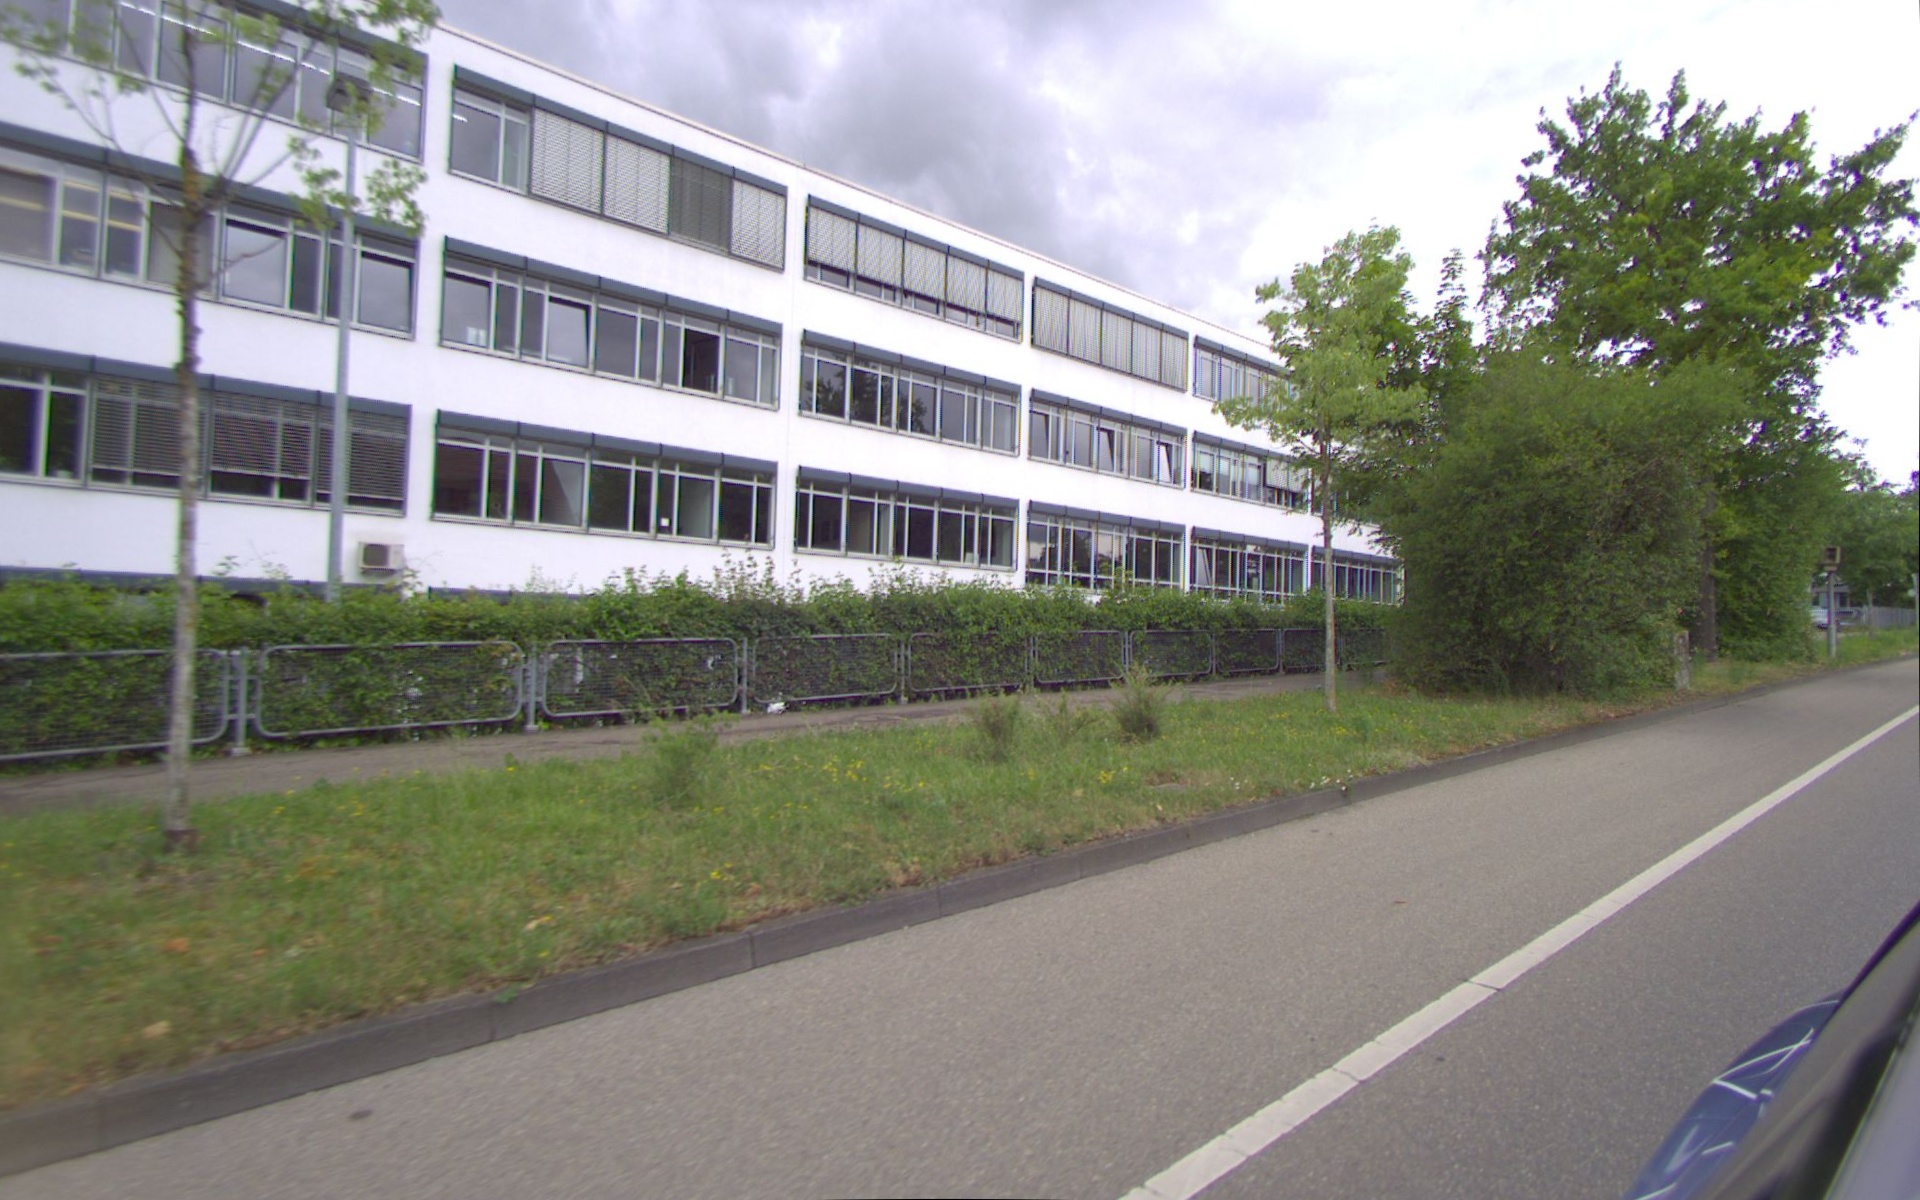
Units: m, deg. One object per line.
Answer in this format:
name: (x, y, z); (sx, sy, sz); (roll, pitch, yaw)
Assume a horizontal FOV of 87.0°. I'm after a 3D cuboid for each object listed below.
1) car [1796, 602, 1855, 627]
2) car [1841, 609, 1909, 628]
car: (52.438, 0.890, 61.267); (4.891, 1.435, 1.850); (1, -2, -39)
car: (80.504, 1.657, 89.083); (1.786, 1.467, 4.183); (2, -4, -41)
